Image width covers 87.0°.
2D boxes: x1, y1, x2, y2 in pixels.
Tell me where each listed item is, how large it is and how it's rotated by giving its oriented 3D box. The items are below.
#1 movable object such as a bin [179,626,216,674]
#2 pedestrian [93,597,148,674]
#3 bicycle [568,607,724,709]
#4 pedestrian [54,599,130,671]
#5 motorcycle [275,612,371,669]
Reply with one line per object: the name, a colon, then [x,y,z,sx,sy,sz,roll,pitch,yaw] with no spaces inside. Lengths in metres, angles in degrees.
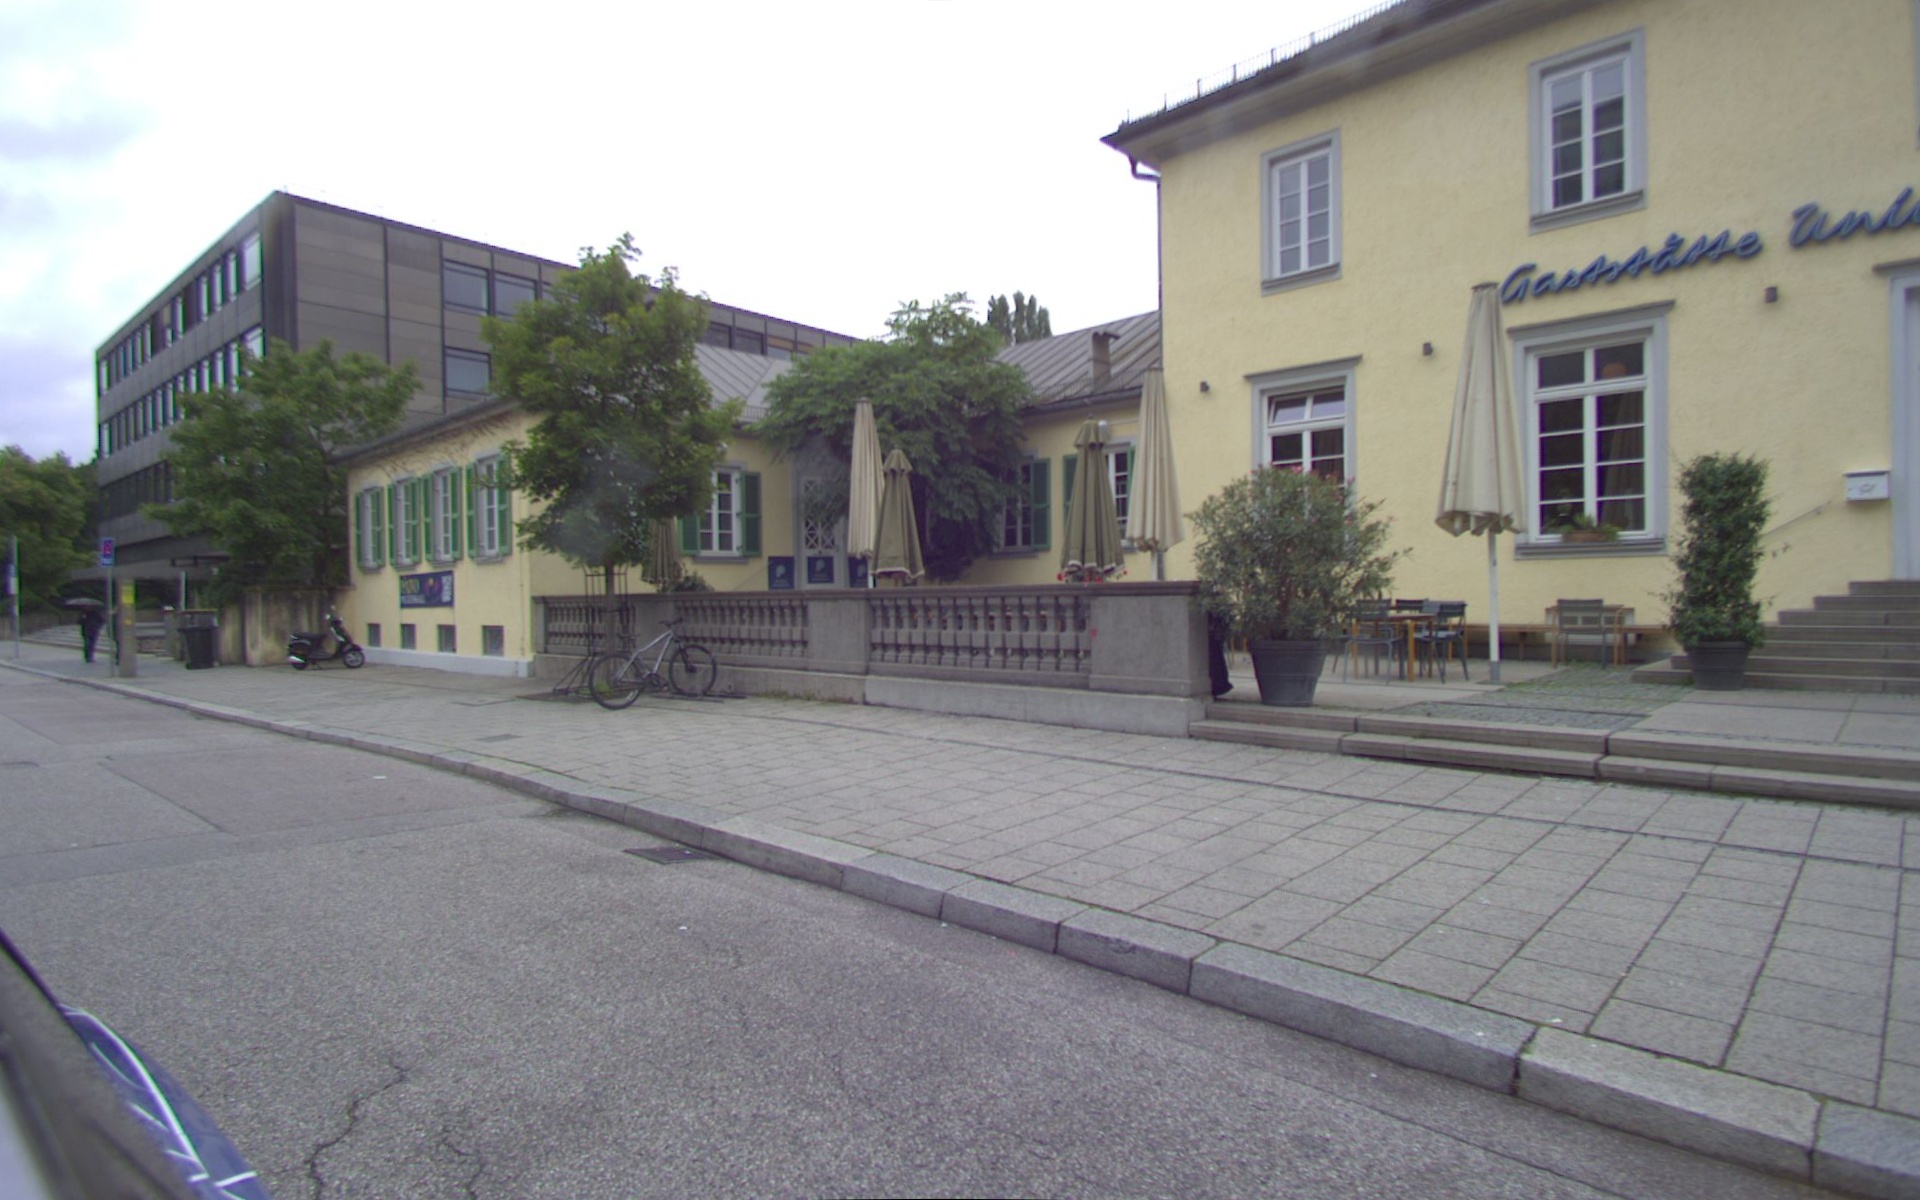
movable object such as a bin: [-18.569,1.210,24.636,0.459,1.117,0.607,-1,1,40]
pedestrian: [-23.080,0.959,27.813,0.913,2.029,0.964,-1,1,40]
bicycle: [-3.960,0.700,12.881,0.466,1.042,1.823,-2,4,43]
pedestrian: [-26.068,1.031,30.401,1.500,2.028,1.461,-1,1,40]
motorcycle: [-14.031,0.881,22.306,1.642,1.120,0.591,-3,3,-5]
